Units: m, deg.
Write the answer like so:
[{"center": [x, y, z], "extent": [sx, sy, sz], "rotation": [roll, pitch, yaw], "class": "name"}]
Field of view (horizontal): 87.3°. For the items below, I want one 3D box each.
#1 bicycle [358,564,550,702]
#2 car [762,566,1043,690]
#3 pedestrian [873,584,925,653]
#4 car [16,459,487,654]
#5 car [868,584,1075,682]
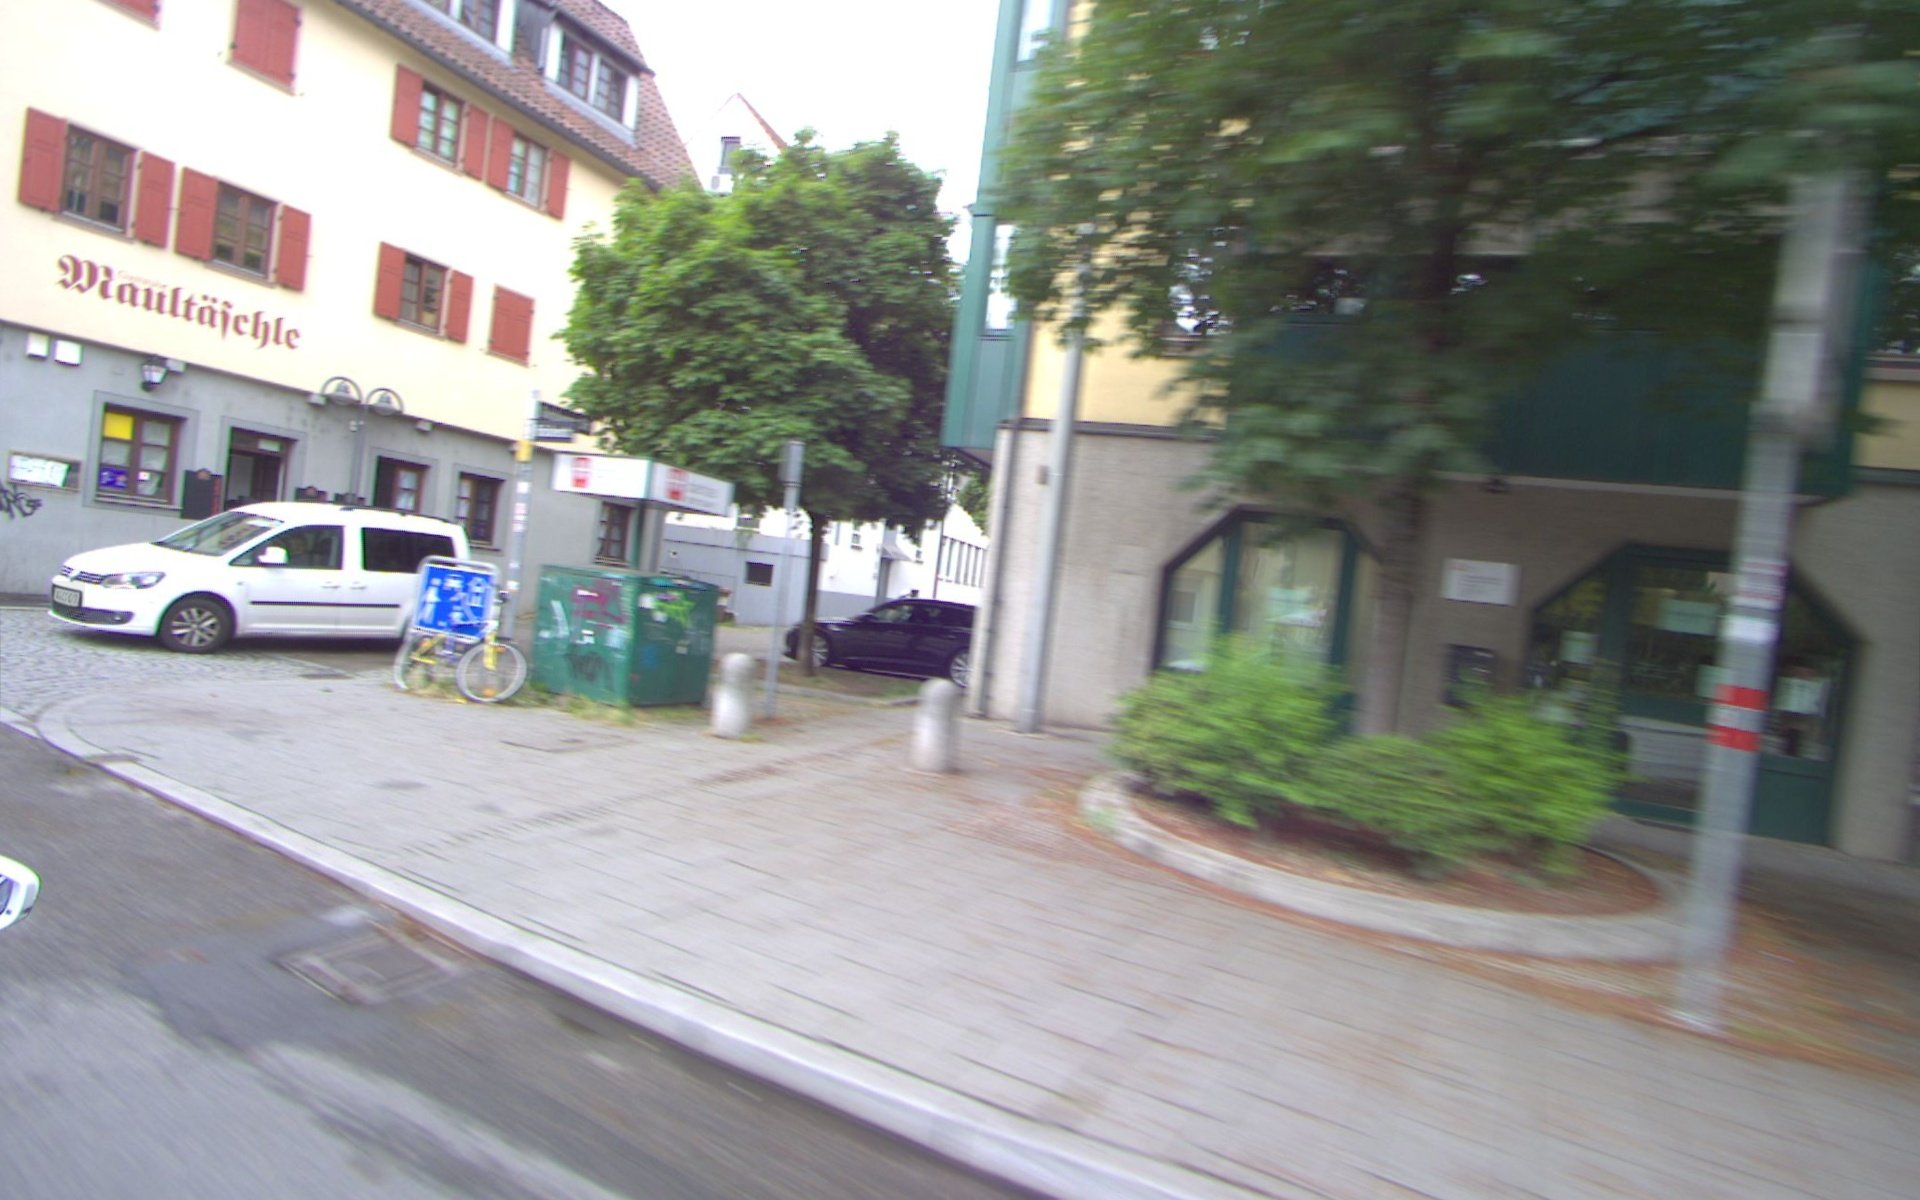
[{"center": [-4.812, 0.303, 9.579], "extent": [1.607, 1.121, 0.501], "rotation": [6, 1, 12], "class": "bicycle"}, {"center": [-1.010, 0.466, 17.923], "extent": [4.511, 1.642, 1.848], "rotation": [6, 0, 19], "class": "car"}, {"center": [-1.566, 0.492, 26.004], "extent": [0.897, 1.675, 0.895], "rotation": [6, 1, 21], "class": "pedestrian"}, {"center": [-8.330, -0.384, 12.316], "extent": [1.815, 1.820, 4.250], "rotation": [8, 1, 27], "class": "car"}, {"center": [0.247, 0.644, 20.438], "extent": [3.730, 1.538, 1.712], "rotation": [6, 0, 19], "class": "car"}]
